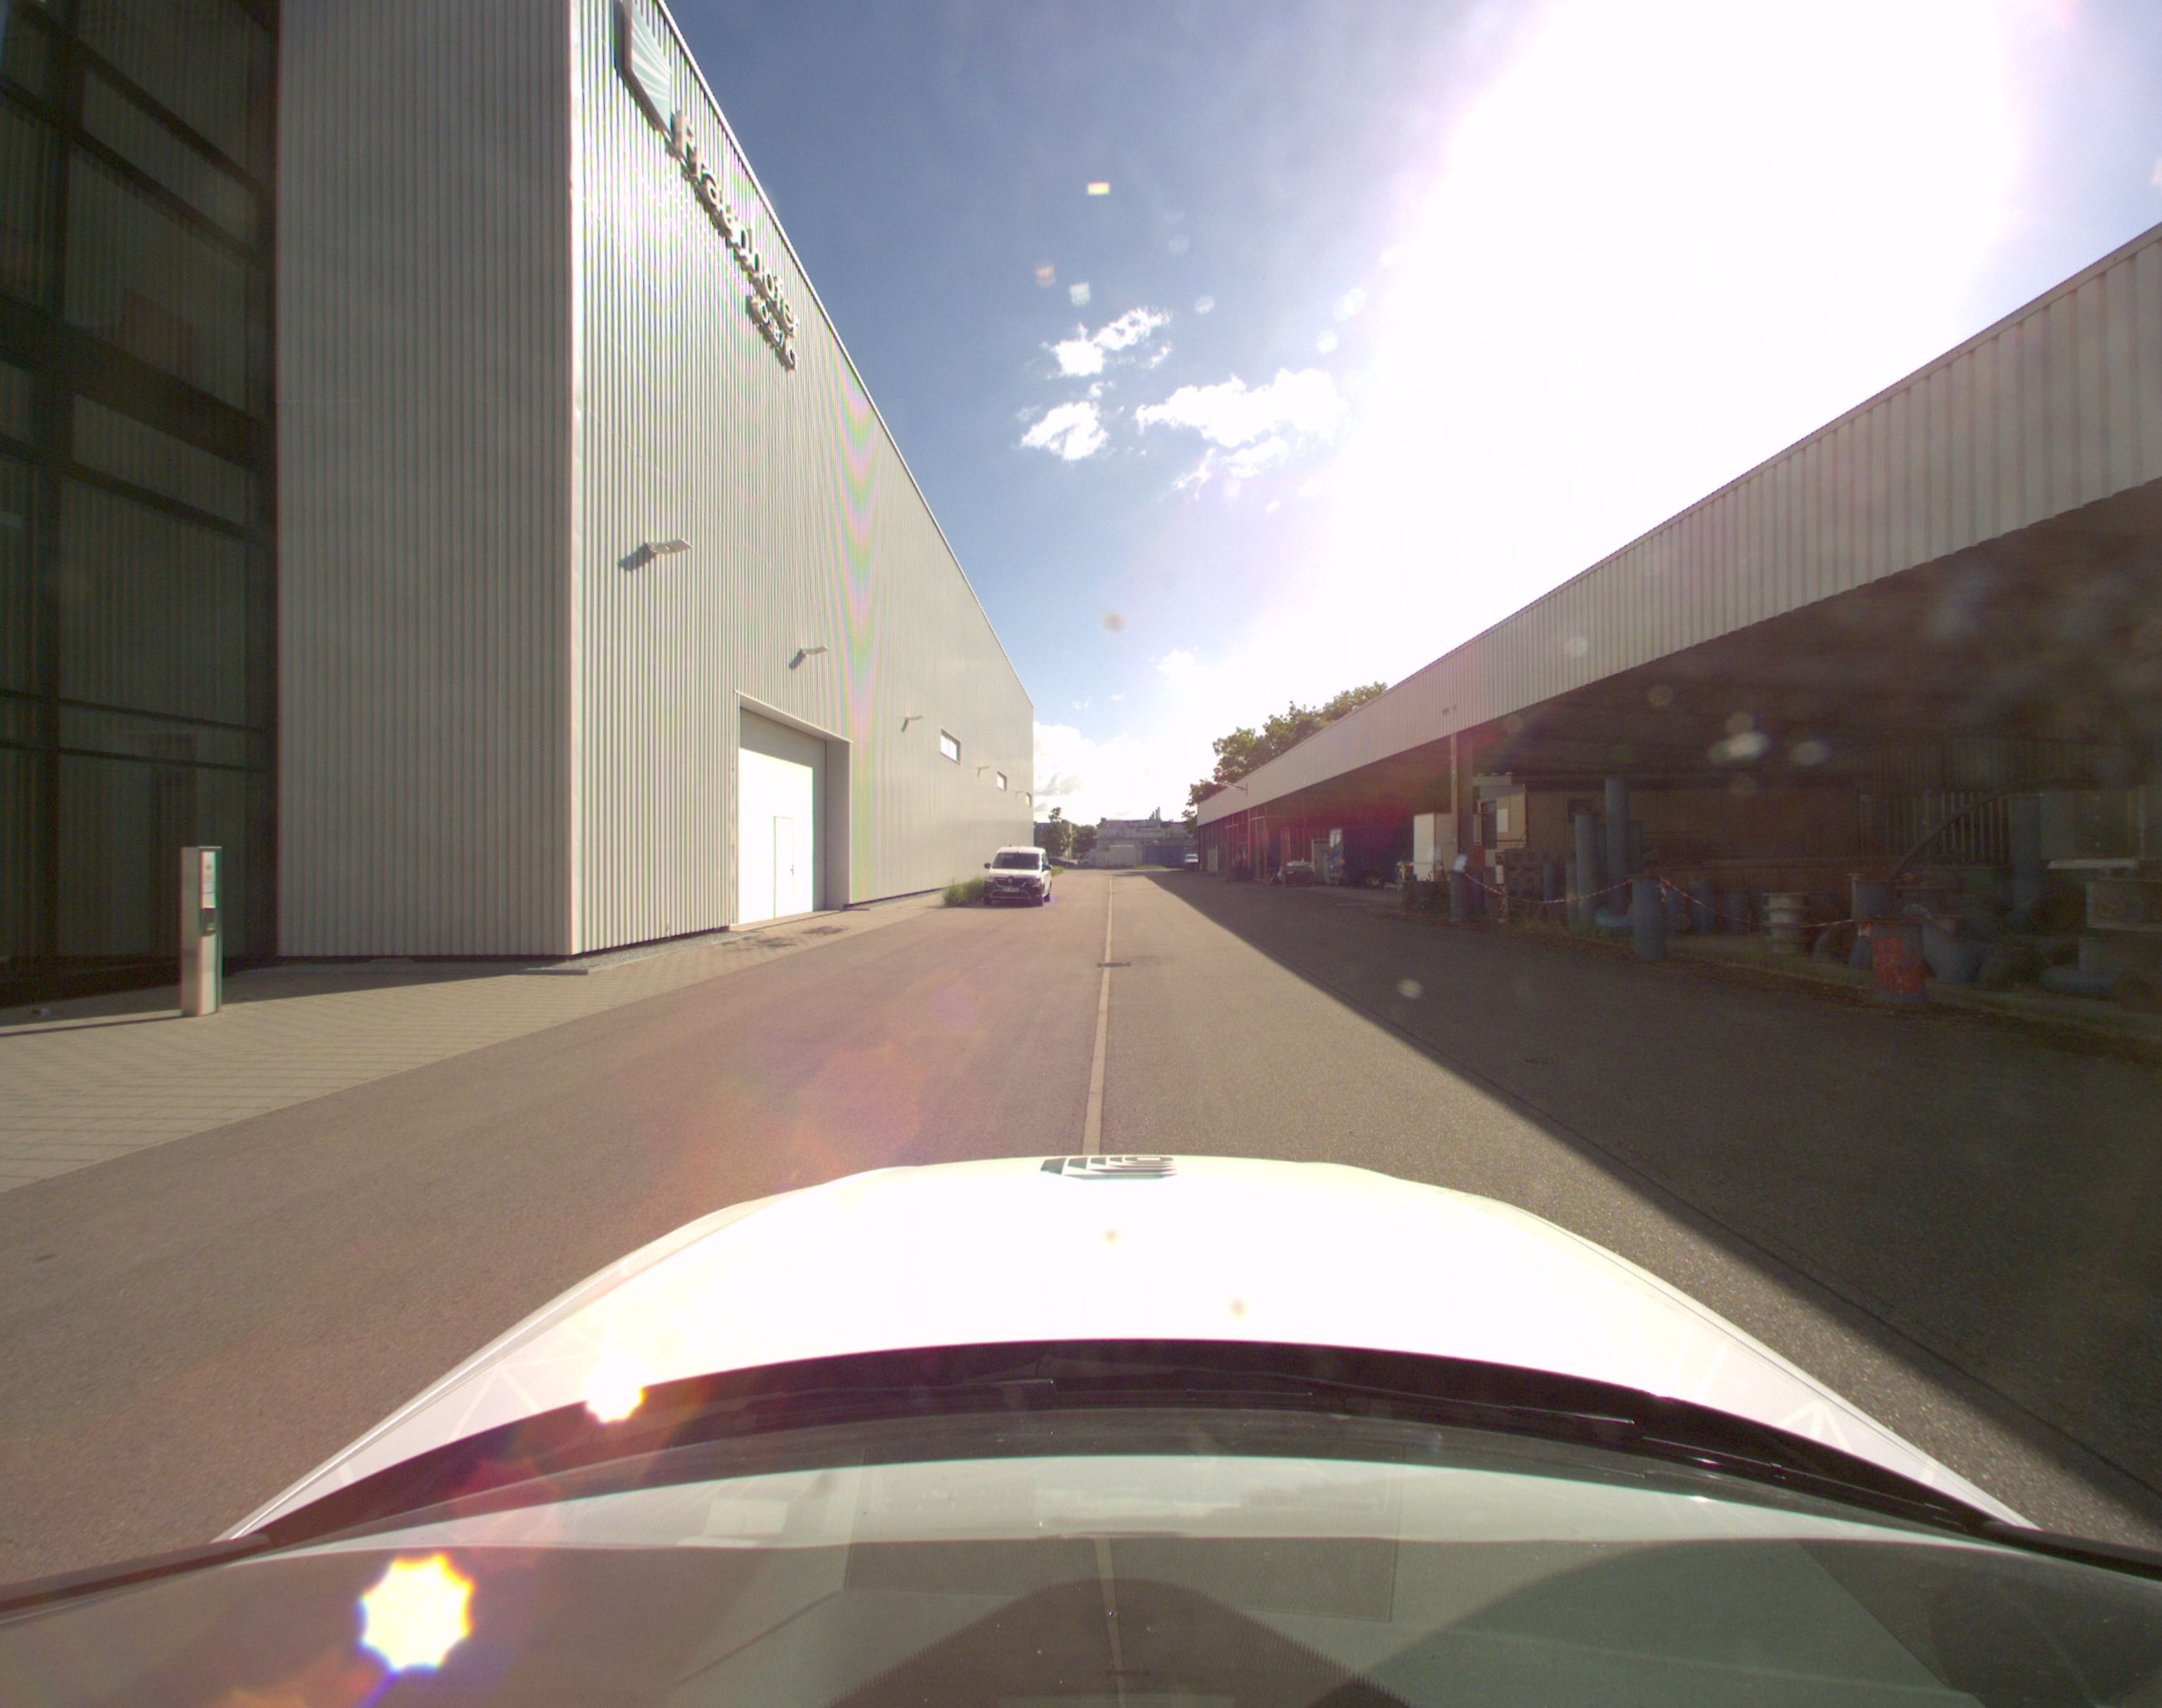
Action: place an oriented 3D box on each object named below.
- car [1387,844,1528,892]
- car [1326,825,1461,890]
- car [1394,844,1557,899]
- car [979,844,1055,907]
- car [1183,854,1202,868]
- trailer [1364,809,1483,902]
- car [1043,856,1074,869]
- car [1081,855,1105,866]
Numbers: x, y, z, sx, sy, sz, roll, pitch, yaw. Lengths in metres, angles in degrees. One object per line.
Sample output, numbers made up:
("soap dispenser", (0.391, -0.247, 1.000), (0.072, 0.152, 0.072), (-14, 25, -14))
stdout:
("car", (12.677, 0.480, 27.576), (4.021, 1.525, 1.685), (1, -2, 3))
("car", (11.692, 0.167, 30.706), (4.414, 2.310, 1.916), (1, -2, 3))
("car", (11.621, 0.532, 24.179), (4.021, 1.525, 1.685), (1, -2, 3))
("car", (-1.915, 0.618, 25.754), (1.811, 1.787, 4.408), (1, 0, 3))
("car", (12.985, 0.837, 95.196), (1.953, 1.564, 4.063), (1, 0, 4))
("trailer", (9.176, 0.060, 21.984), (2.513, 2.399, 1.728), (-1, -1, 3))
("car", (-2.957, 1.108, 108.071), (3.973, 1.598, 1.741), (1, -2, 1))
("car", (1.954, 1.081, 135.839), (3.973, 1.598, 1.848), (1, -2, 1))
